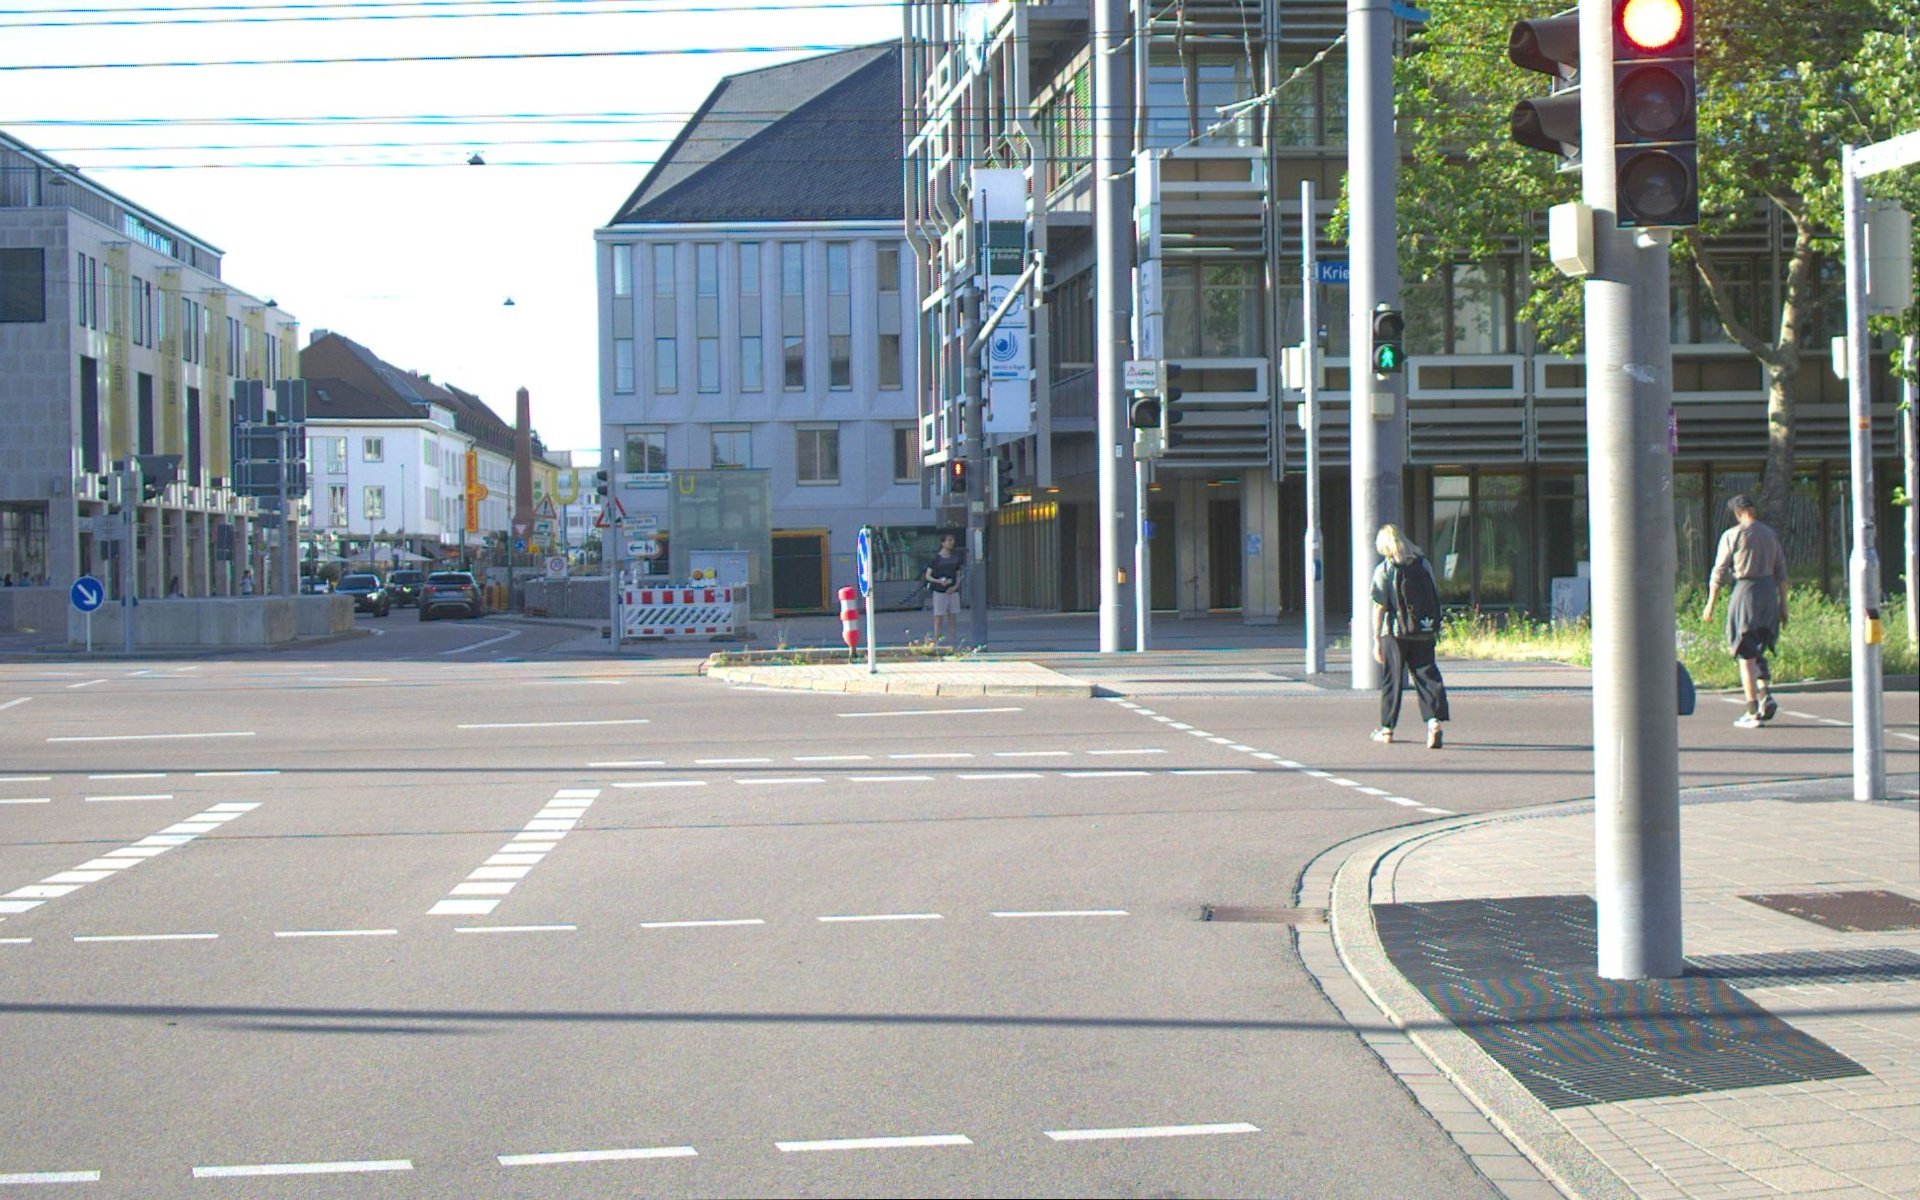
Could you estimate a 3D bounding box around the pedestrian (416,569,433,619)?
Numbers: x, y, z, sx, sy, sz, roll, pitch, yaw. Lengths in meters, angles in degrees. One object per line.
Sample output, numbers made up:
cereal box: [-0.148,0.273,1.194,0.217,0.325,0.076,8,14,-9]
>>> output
pedestrian: [-18.248,-0.199,117.141,0.521,1.674,0.583,1,1,-7]

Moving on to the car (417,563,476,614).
car: [-16.147,-0.377,108.210,1.737,1.525,3.856,1,1,-7]

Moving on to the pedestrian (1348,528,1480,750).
pedestrian: [3.098,0.260,23.521,0.788,1.487,0.644,1,0,-1]

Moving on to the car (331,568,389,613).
car: [-22.821,-0.369,130.836,1.797,1.652,4.001,1,1,-4]

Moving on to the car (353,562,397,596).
car: [-29.193,-1.050,171.652,1.797,1.652,4.001,1,1,-4]

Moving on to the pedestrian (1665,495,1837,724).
pedestrian: [5.849,0.068,25.455,0.878,1.659,0.965,1,0,-14]

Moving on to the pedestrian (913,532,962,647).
pedestrian: [-0.371,-0.178,57.316,0.788,1.883,0.644,1,0,-1]
